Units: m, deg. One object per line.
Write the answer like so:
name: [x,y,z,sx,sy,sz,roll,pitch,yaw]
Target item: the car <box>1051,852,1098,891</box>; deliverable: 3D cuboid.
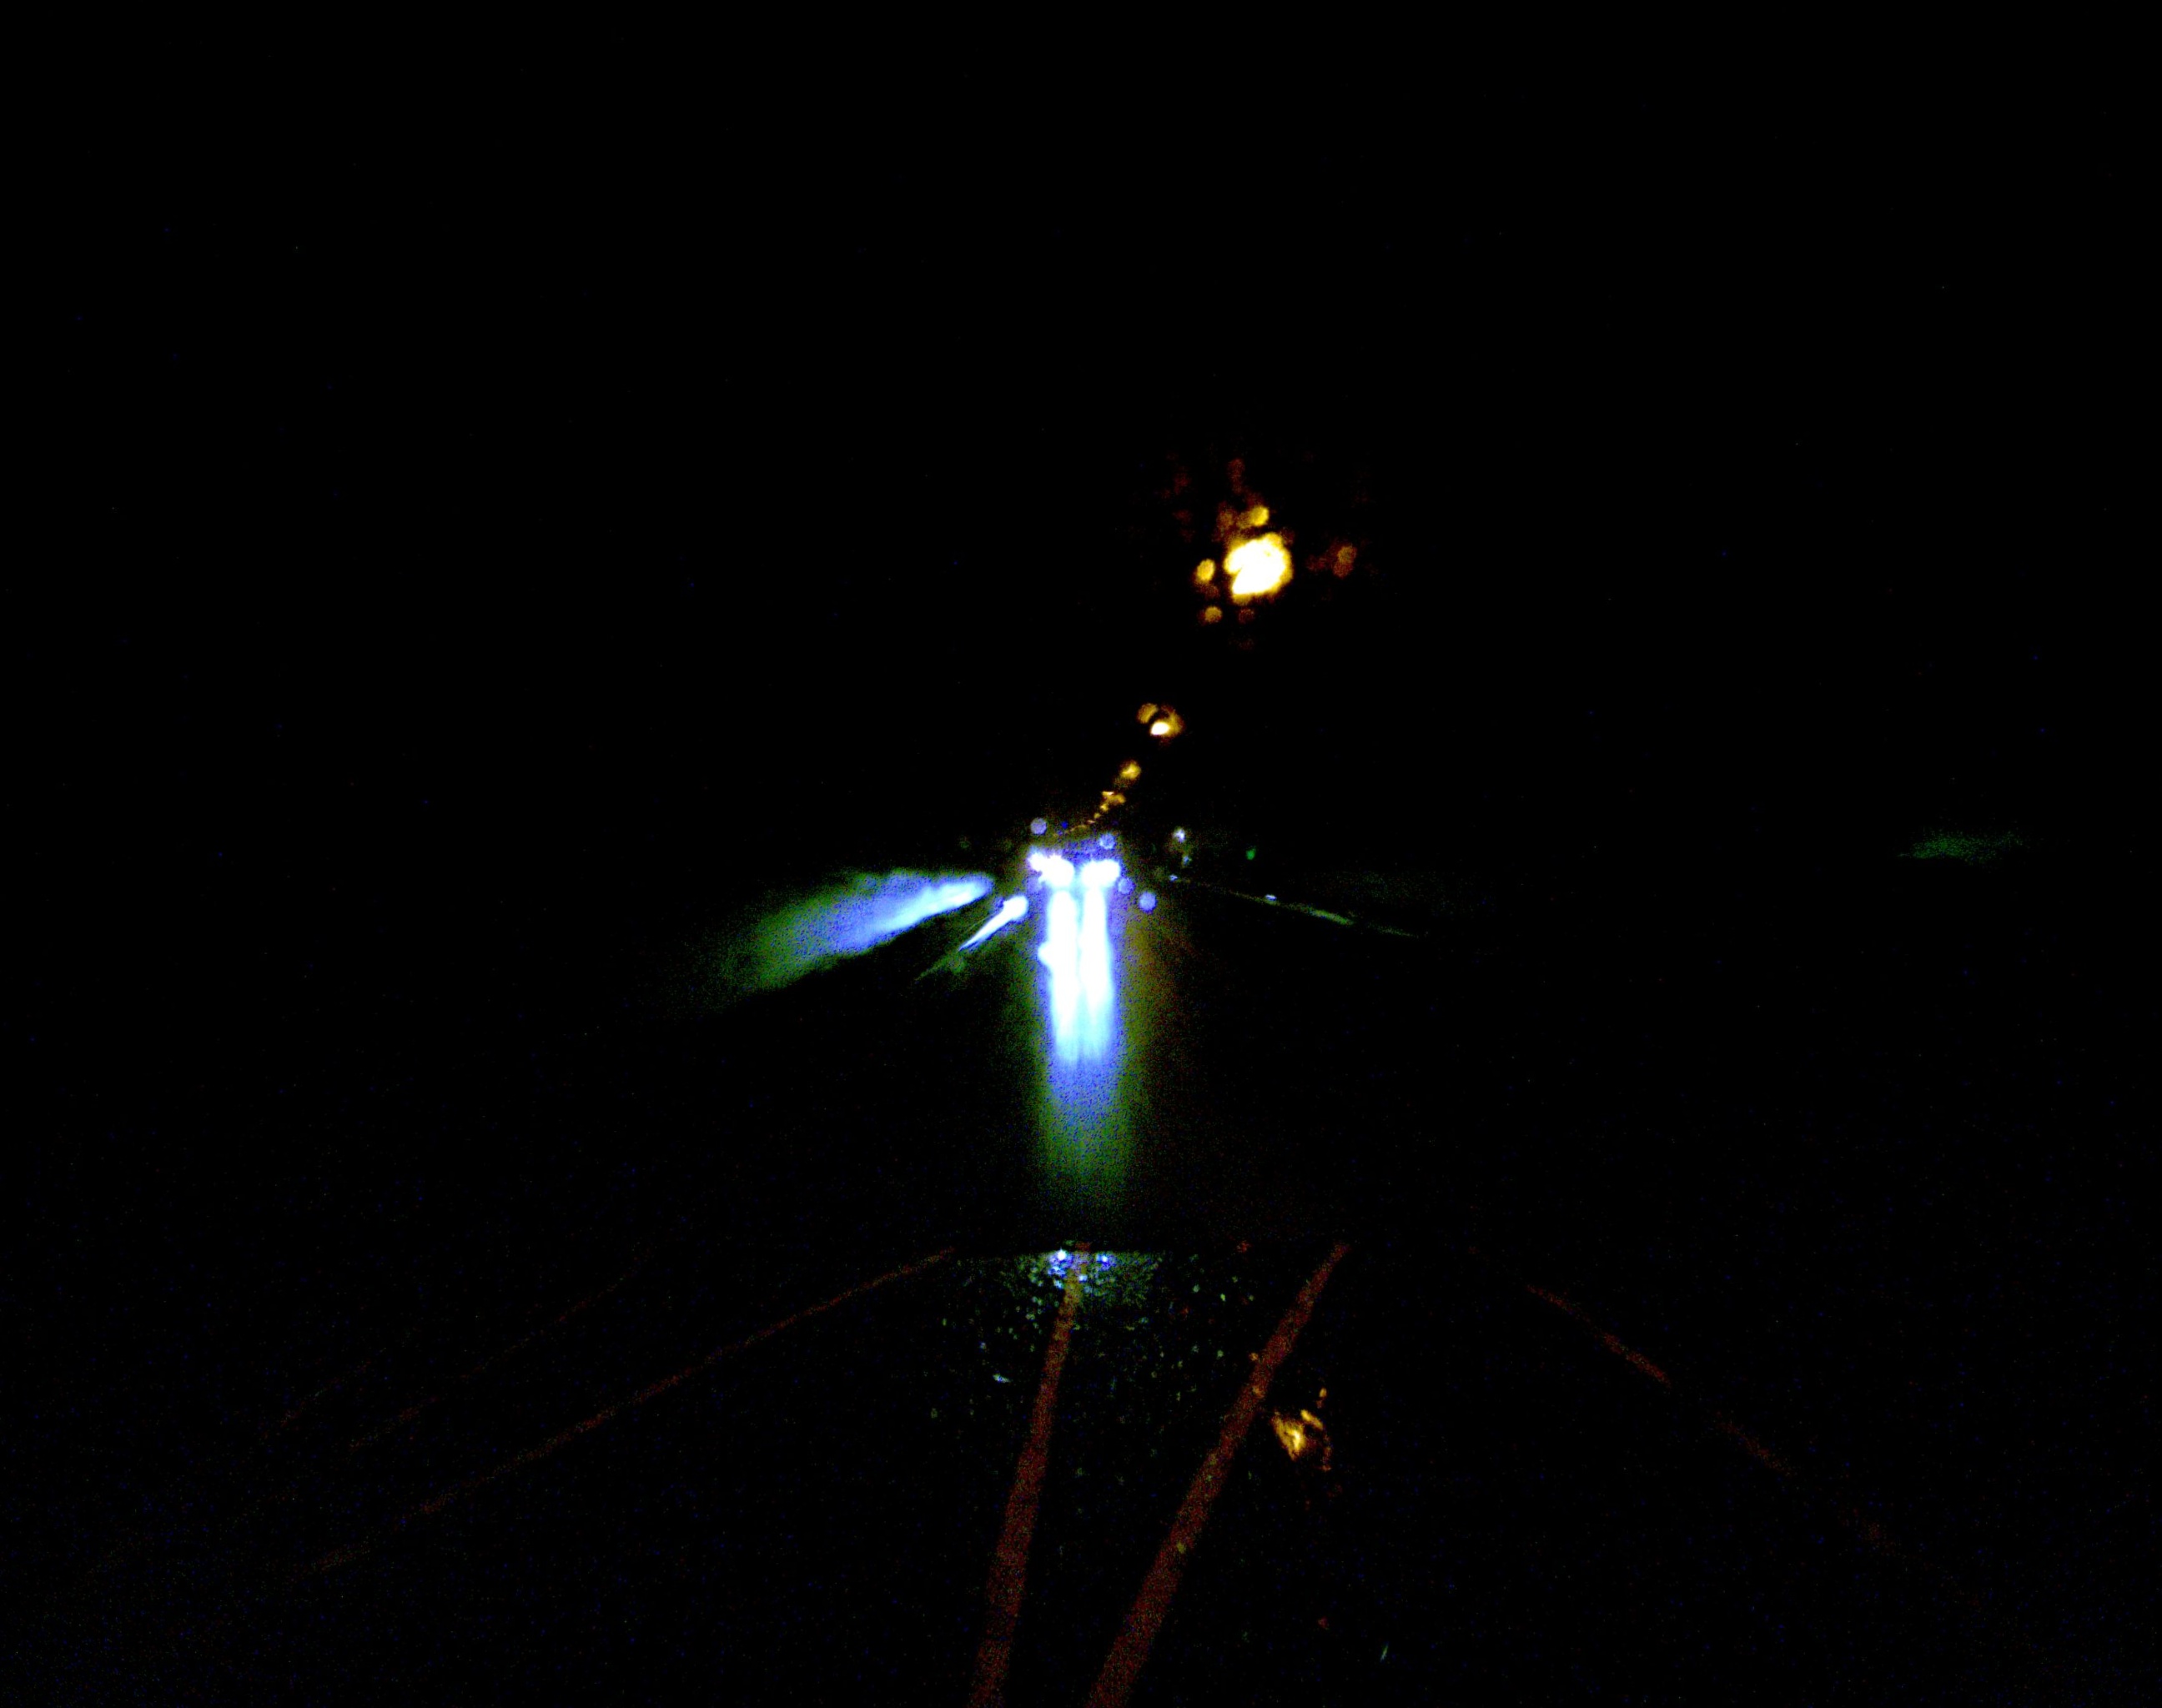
car: [-0.261,0.746,35.285,1.998,1.547,3.999,-2,1,0]
